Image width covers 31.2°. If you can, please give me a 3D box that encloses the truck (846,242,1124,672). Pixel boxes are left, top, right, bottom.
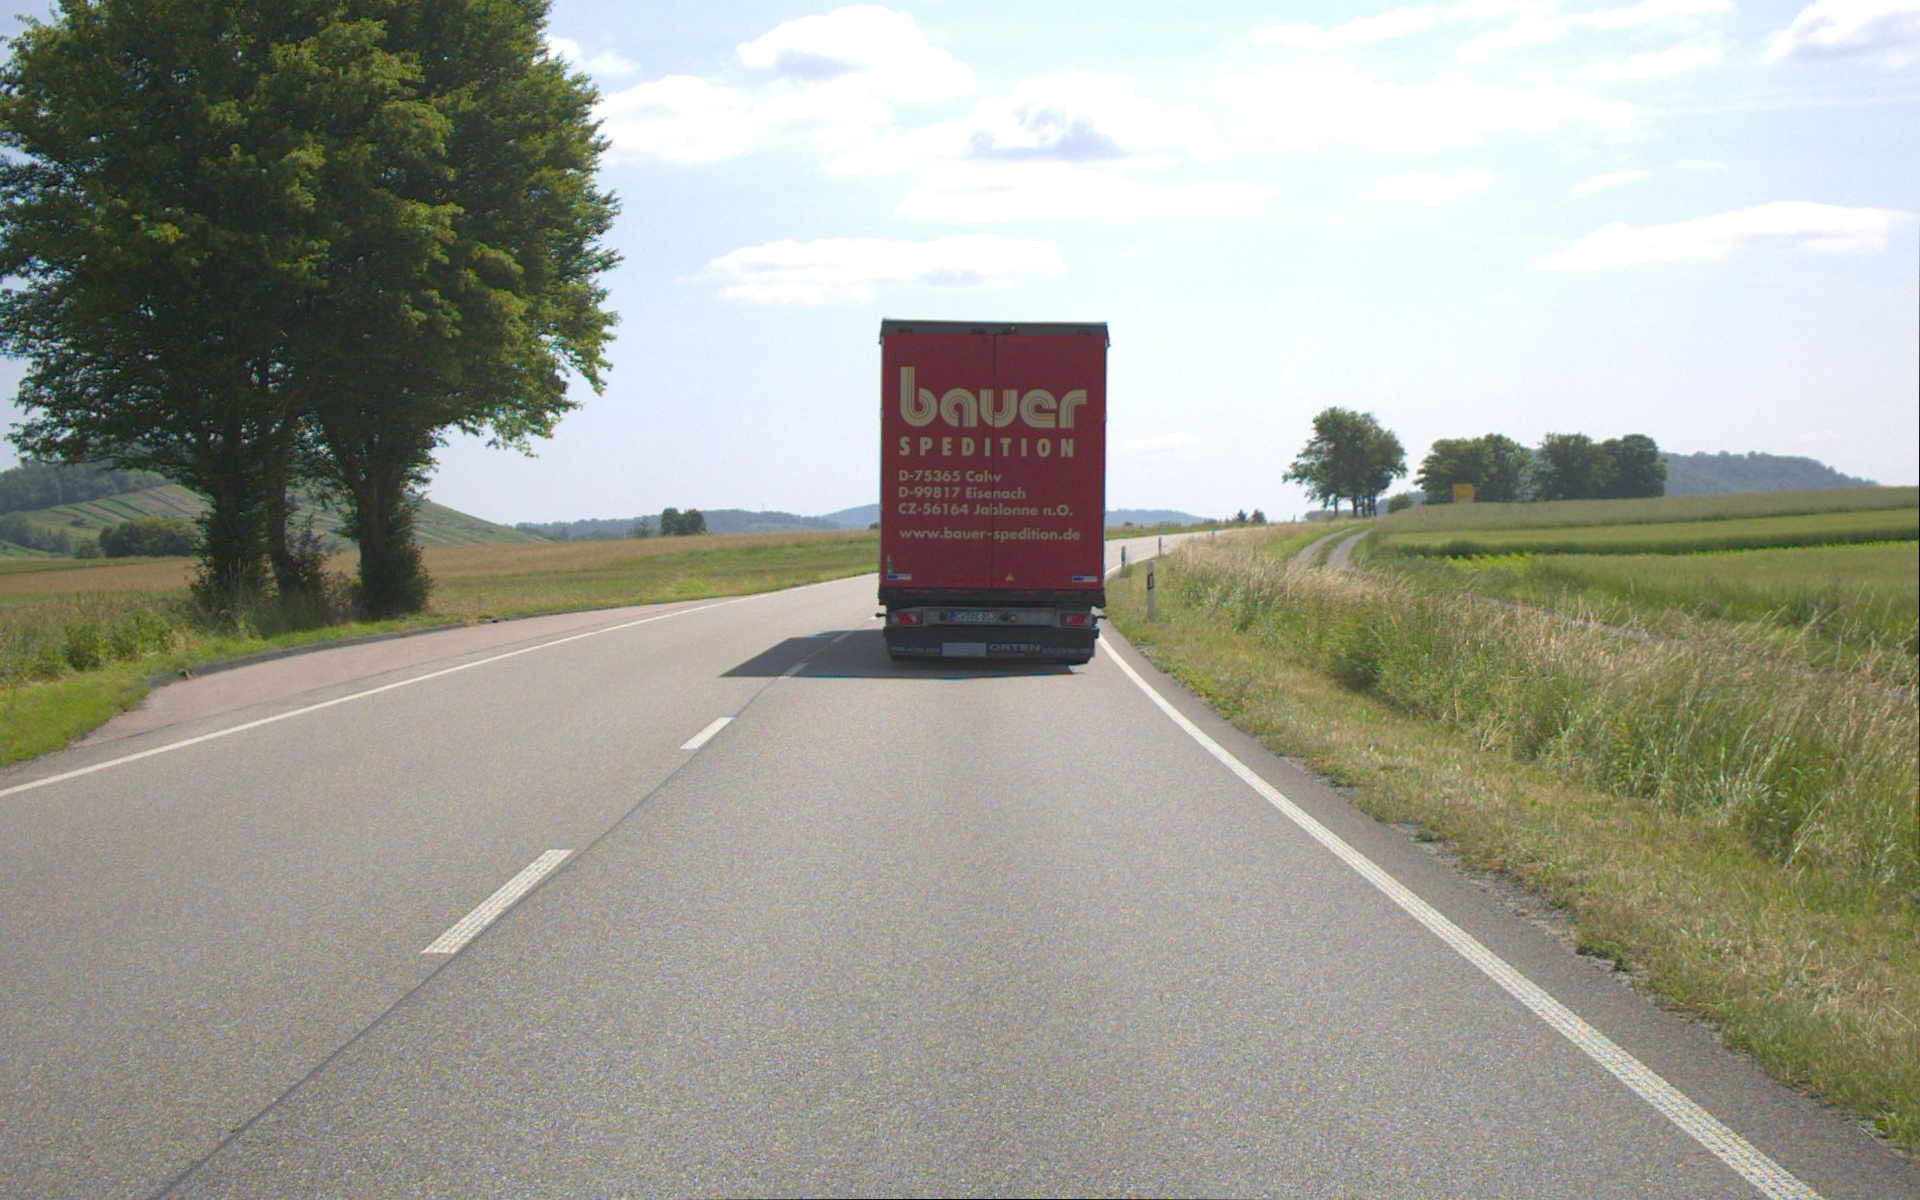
[{"bbox_3d":[0.157,-1.638,42.800,2.975,4.697,9.367,1,1,-1],"label":"truck"}]
